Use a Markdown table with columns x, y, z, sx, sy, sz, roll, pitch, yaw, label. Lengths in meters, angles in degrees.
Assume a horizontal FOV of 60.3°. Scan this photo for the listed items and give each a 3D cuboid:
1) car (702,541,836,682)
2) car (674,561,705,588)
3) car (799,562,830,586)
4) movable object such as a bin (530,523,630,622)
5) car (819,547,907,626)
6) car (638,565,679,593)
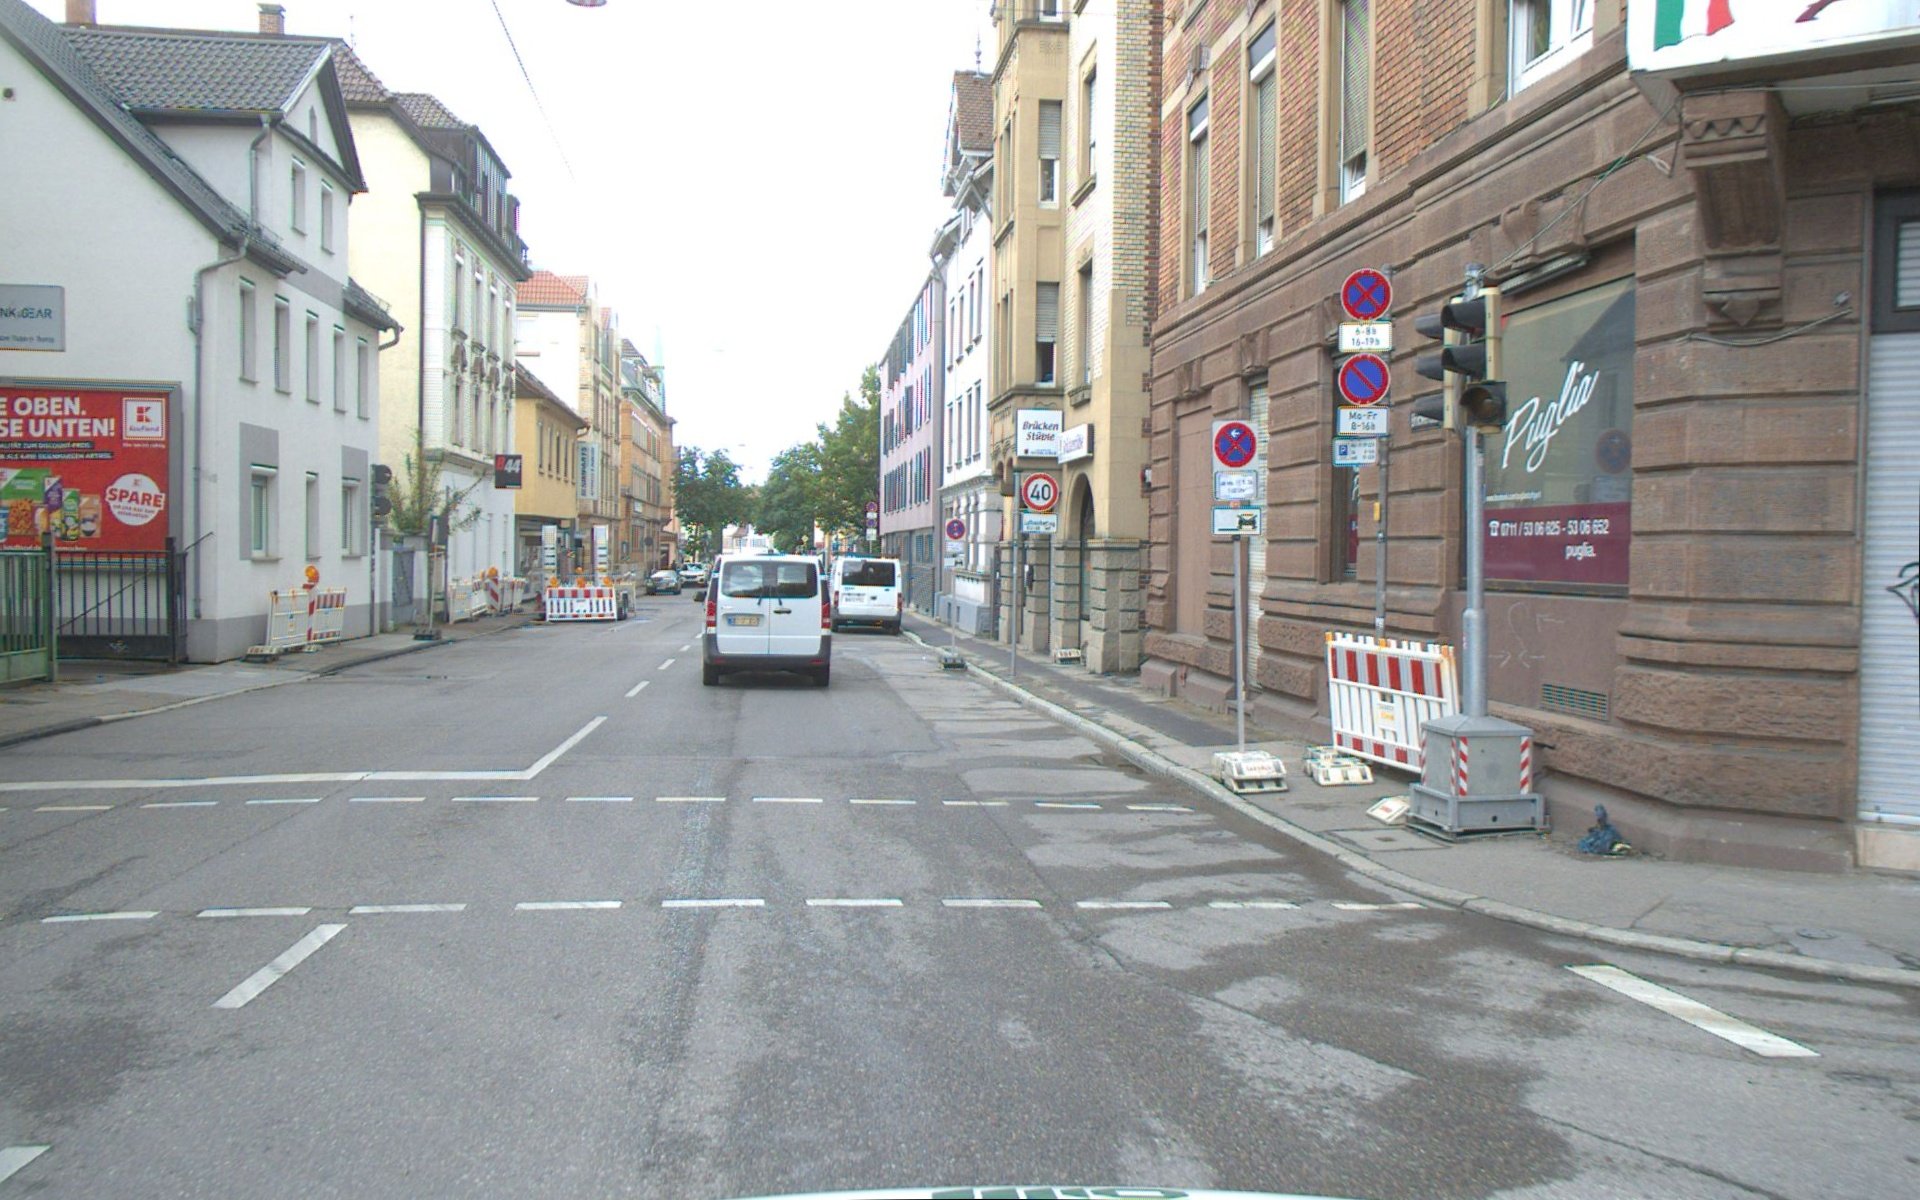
| x | y | z | sx | sy | sz | roll | pitch | yaw | label |
| --- | --- | --- | --- | --- | --- | --- | --- | --- | --- |
| -3.003 | 0.150 | 25.327 | 1.856 | 1.962 | 4.636 | 0 | 0 | -9 | car |
| -18.974 | -1.802 | 116.254 | 1.956 | 1.771 | 3.994 | 3 | 1 | -7 | car |
| -10.341 | -1.835 | 117.215 | 1.956 | 1.511 | 3.994 | 4 | 1 | -7 | car |
| -11.730 | -0.866 | 51.388 | 2.489 | 2.874 | 4.532 | -1 | 1 | -7 | movable object such as a bin |
| -2.818 | -0.407 | 47.074 | 2.088 | 2.039 | 4.918 | 2 | 1 | -7 | car |
| -16.653 | -1.164 | 91.443 | 1.956 | 1.467 | 3.994 | -1 | 1 | -7 | car |
